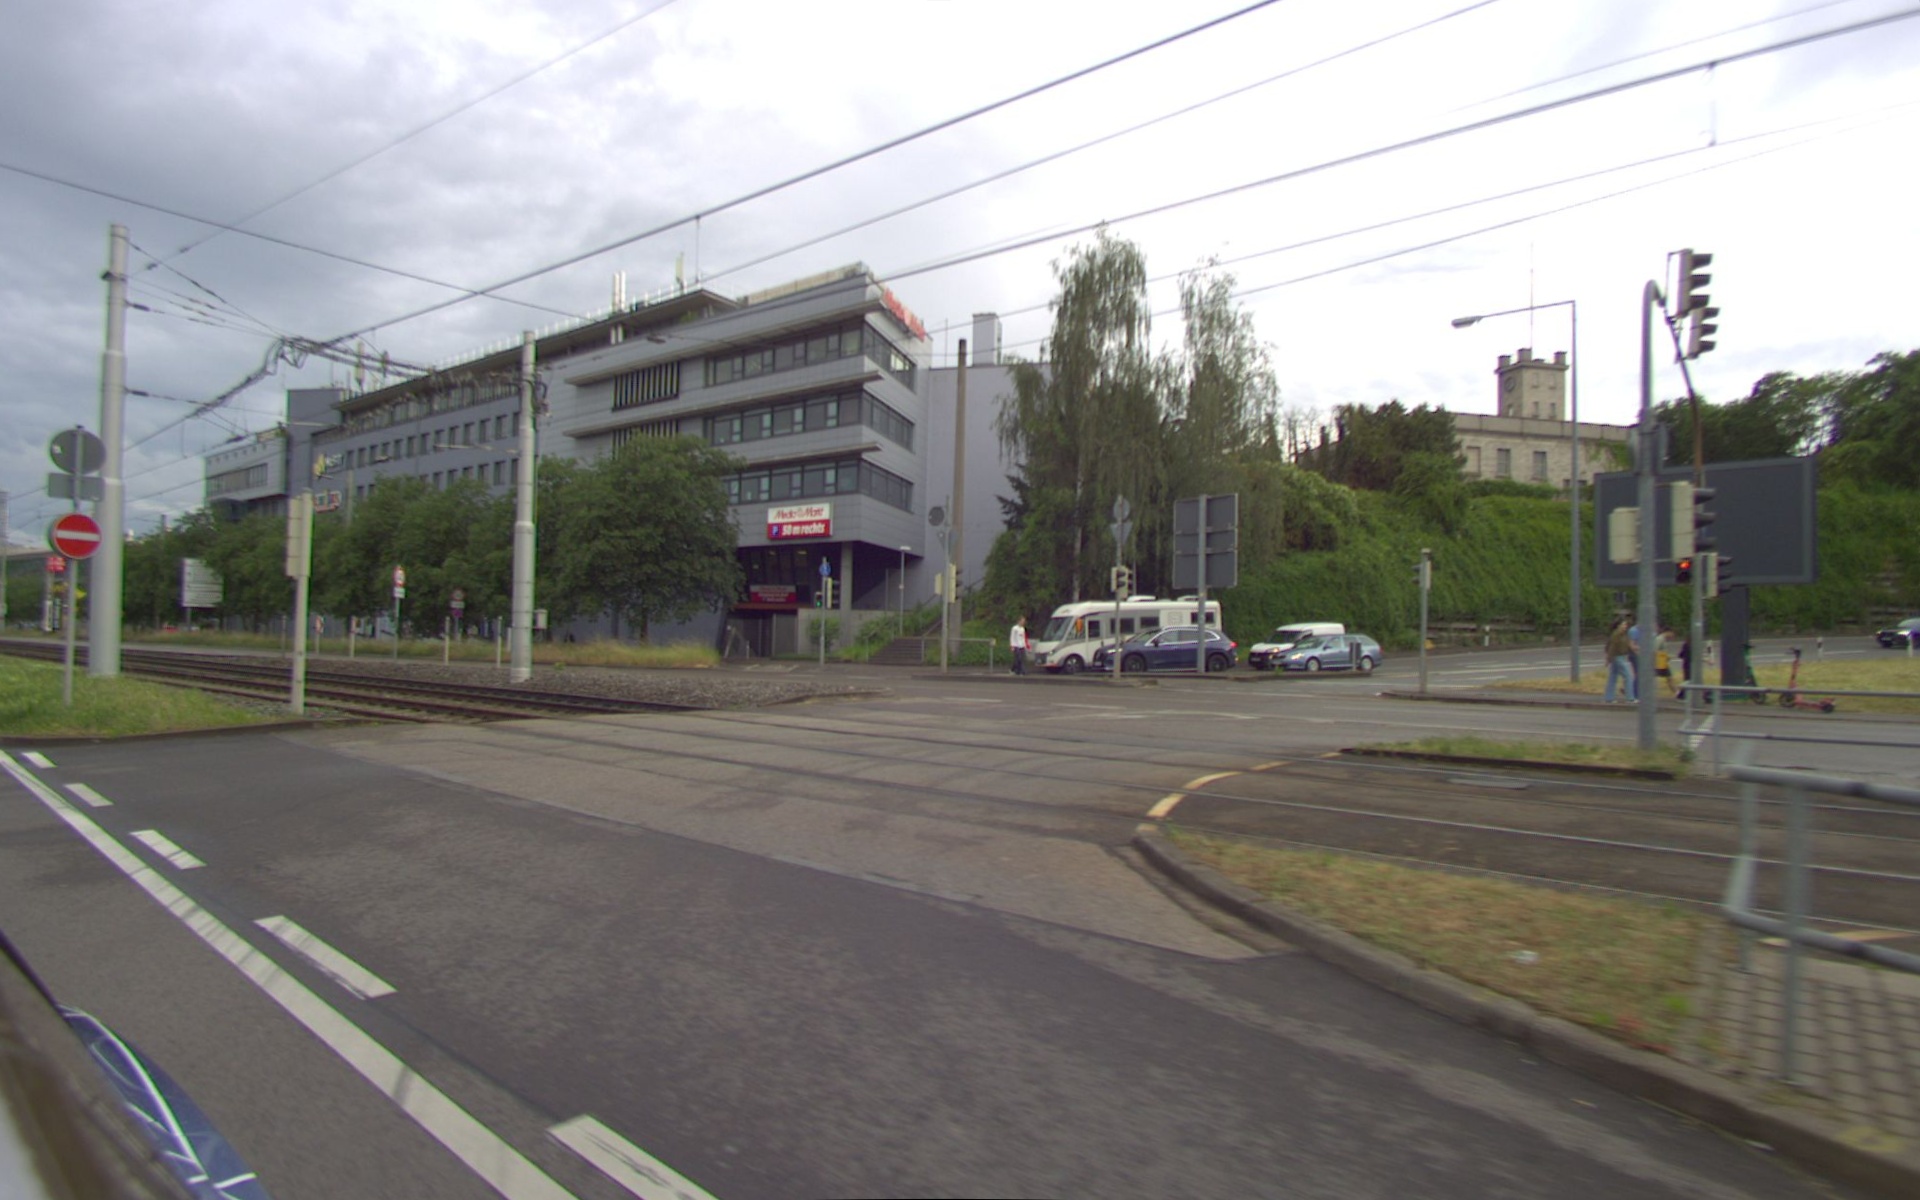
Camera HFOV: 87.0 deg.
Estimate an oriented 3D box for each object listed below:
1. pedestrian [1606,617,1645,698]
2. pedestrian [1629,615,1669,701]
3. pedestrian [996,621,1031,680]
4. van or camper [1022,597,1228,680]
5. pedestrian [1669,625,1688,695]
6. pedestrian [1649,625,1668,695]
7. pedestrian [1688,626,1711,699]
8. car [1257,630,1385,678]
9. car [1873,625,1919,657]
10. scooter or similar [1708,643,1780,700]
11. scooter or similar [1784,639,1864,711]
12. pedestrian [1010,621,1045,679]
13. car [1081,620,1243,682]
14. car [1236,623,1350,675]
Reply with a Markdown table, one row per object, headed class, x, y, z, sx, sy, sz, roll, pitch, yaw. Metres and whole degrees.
| class | x | y | z | sx | sy | sz | roll | pitch | yaw |
| --- | --- | --- | --- | --- | --- | --- | --- | --- | --- |
| pedestrian | 13.889 | 1.187 | 21.121 | 0.631 | 1.640 | 0.405 | 0 | 0 | 42 |
| pedestrian | 14.459 | 1.199 | 21.233 | 0.622 | 1.760 | 0.495 | 0 | 0 | 42 |
| pedestrian | 1.659 | 1.553 | 31.342 | 0.812 | 1.799 | 0.738 | -2 | -3 | 41 |
| van or camper | 6.388 | 1.397 | 39.126 | 7.630 | 2.905 | 2.308 | -1 | 0 | -18 |
| pedestrian | 15.822 | 1.314 | 22.274 | 0.306 | 1.530 | 0.229 | 0 | 0 | 42 |
| pedestrian | 15.493 | 1.317 | 22.436 | 0.306 | 1.530 | 0.307 | 0 | 0 | 42 |
| pedestrian | 15.729 | 1.318 | 21.523 | 0.354 | 1.531 | 0.344 | 0 | 0 | 42 |
| car | 13.212 | 1.927 | 36.998 | 4.260 | 1.519 | 2.007 | -1 | 0 | -27 |
| car | 48.676 | 2.070 | 50.881 | 1.865 | 1.586 | 3.899 | 2 | -3 | -41 |
| scooter or similar | 16.510 | 1.503 | 21.329 | 1.130 | 1.181 | 0.380 | 0 | -2 | 10 |
| scooter or similar | 16.855 | 1.442 | 19.771 | 0.405 | 1.374 | 1.216 | 0 | -2 | -5 |
| pedestrian | 2.131 | 1.566 | 31.929 | 0.812 | 1.799 | 0.738 | -2 | -3 | 41 |
| car | 6.900 | 1.691 | 34.646 | 5.083 | 1.894 | 2.006 | -1 | 0 | -17 |
| car | 13.706 | 1.958 | 41.644 | 4.260 | 1.894 | 2.007 | -1 | 0 | -27 |
